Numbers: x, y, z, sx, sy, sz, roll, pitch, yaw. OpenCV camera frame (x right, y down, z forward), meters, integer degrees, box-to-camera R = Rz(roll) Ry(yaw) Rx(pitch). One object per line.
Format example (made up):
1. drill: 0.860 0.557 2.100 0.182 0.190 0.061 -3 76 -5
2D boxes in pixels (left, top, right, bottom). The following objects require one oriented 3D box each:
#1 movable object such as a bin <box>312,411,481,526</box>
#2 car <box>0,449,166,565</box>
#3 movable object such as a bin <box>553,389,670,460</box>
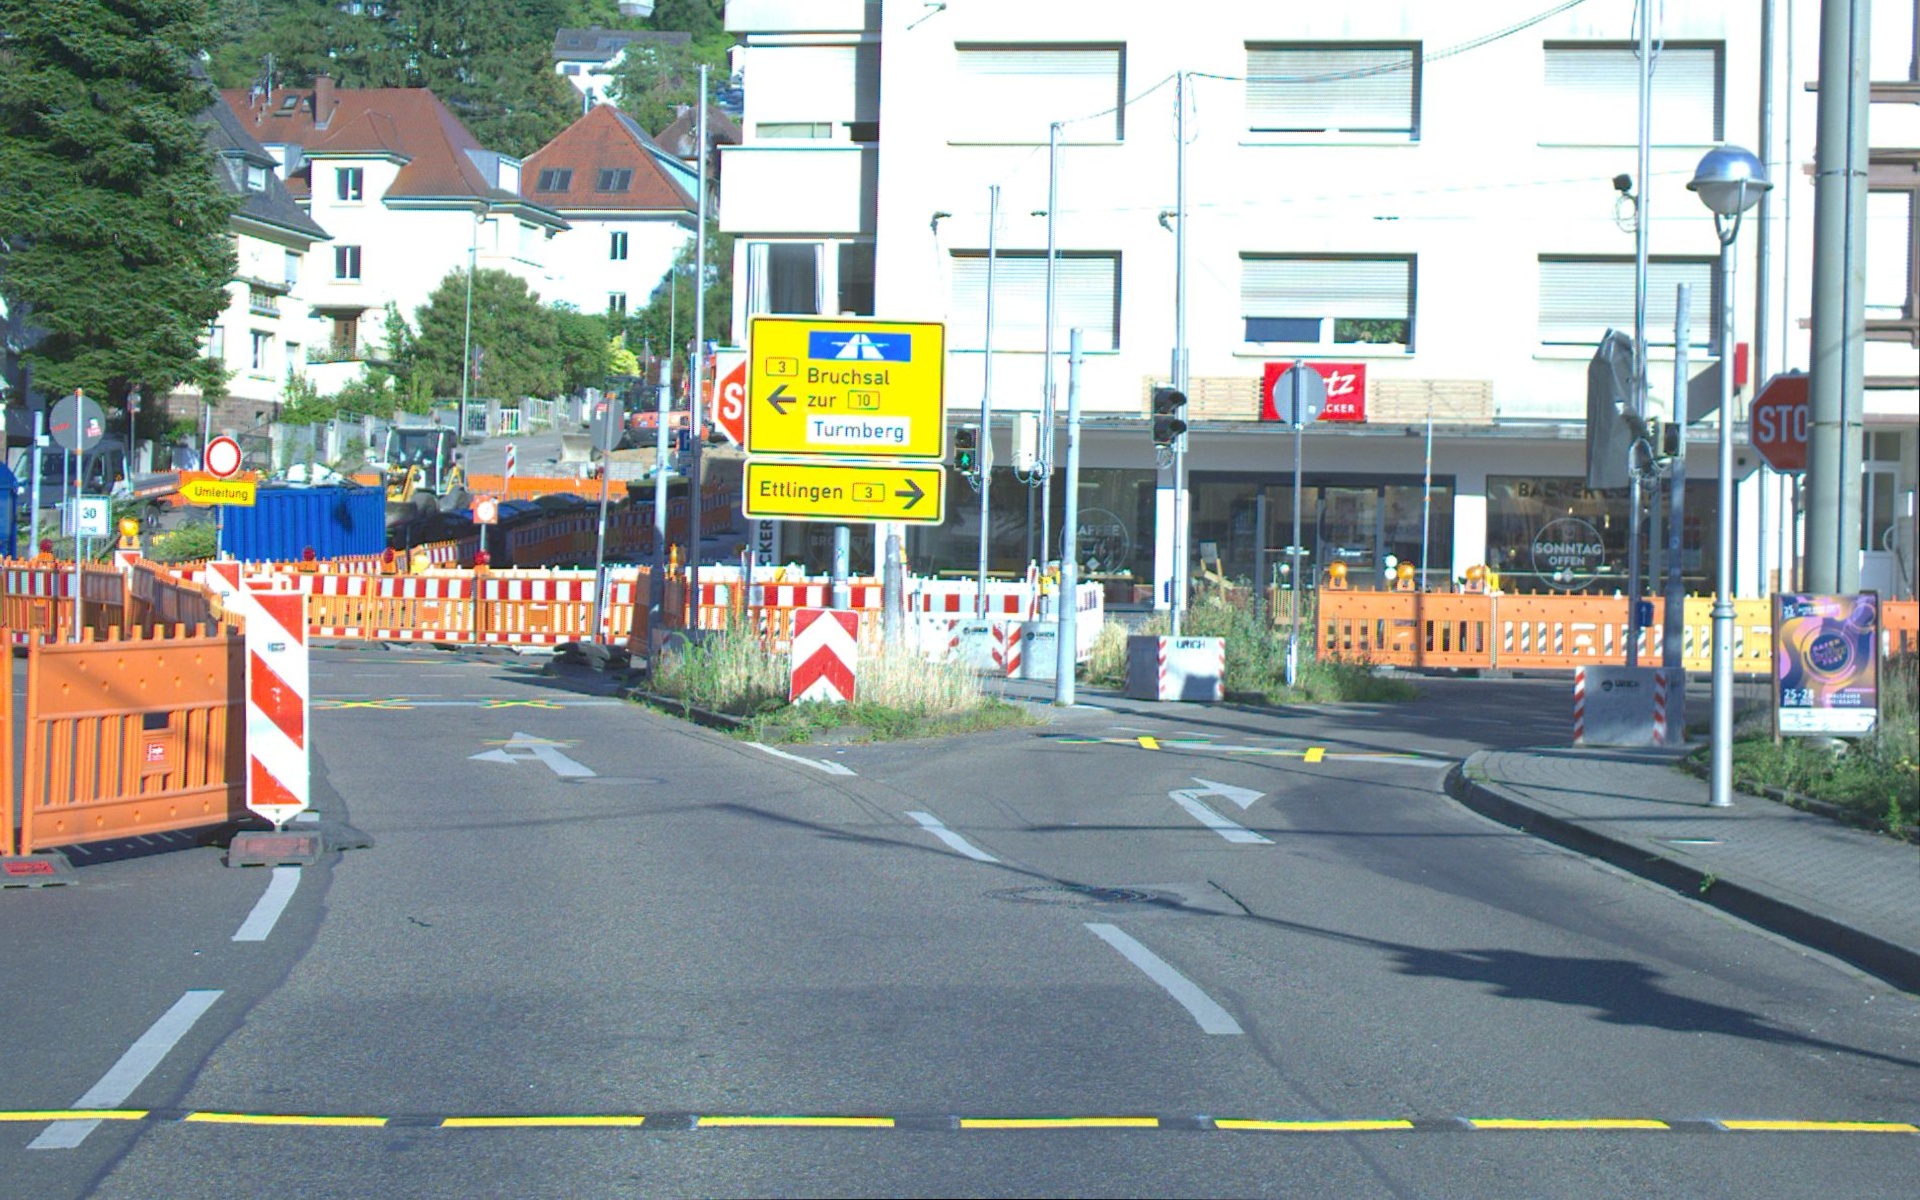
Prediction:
1. movable object such as a bin: -12.891 -2.988 78.949 1.950 2.486 4.547 1 1 18
2. car: -18.037 -1.755 66.145 2.585 2.113 6.145 1 1 18
3. movable object such as a bin: -11.593 -5.836 114.843 2.566 2.114 5.782 1 1 8
